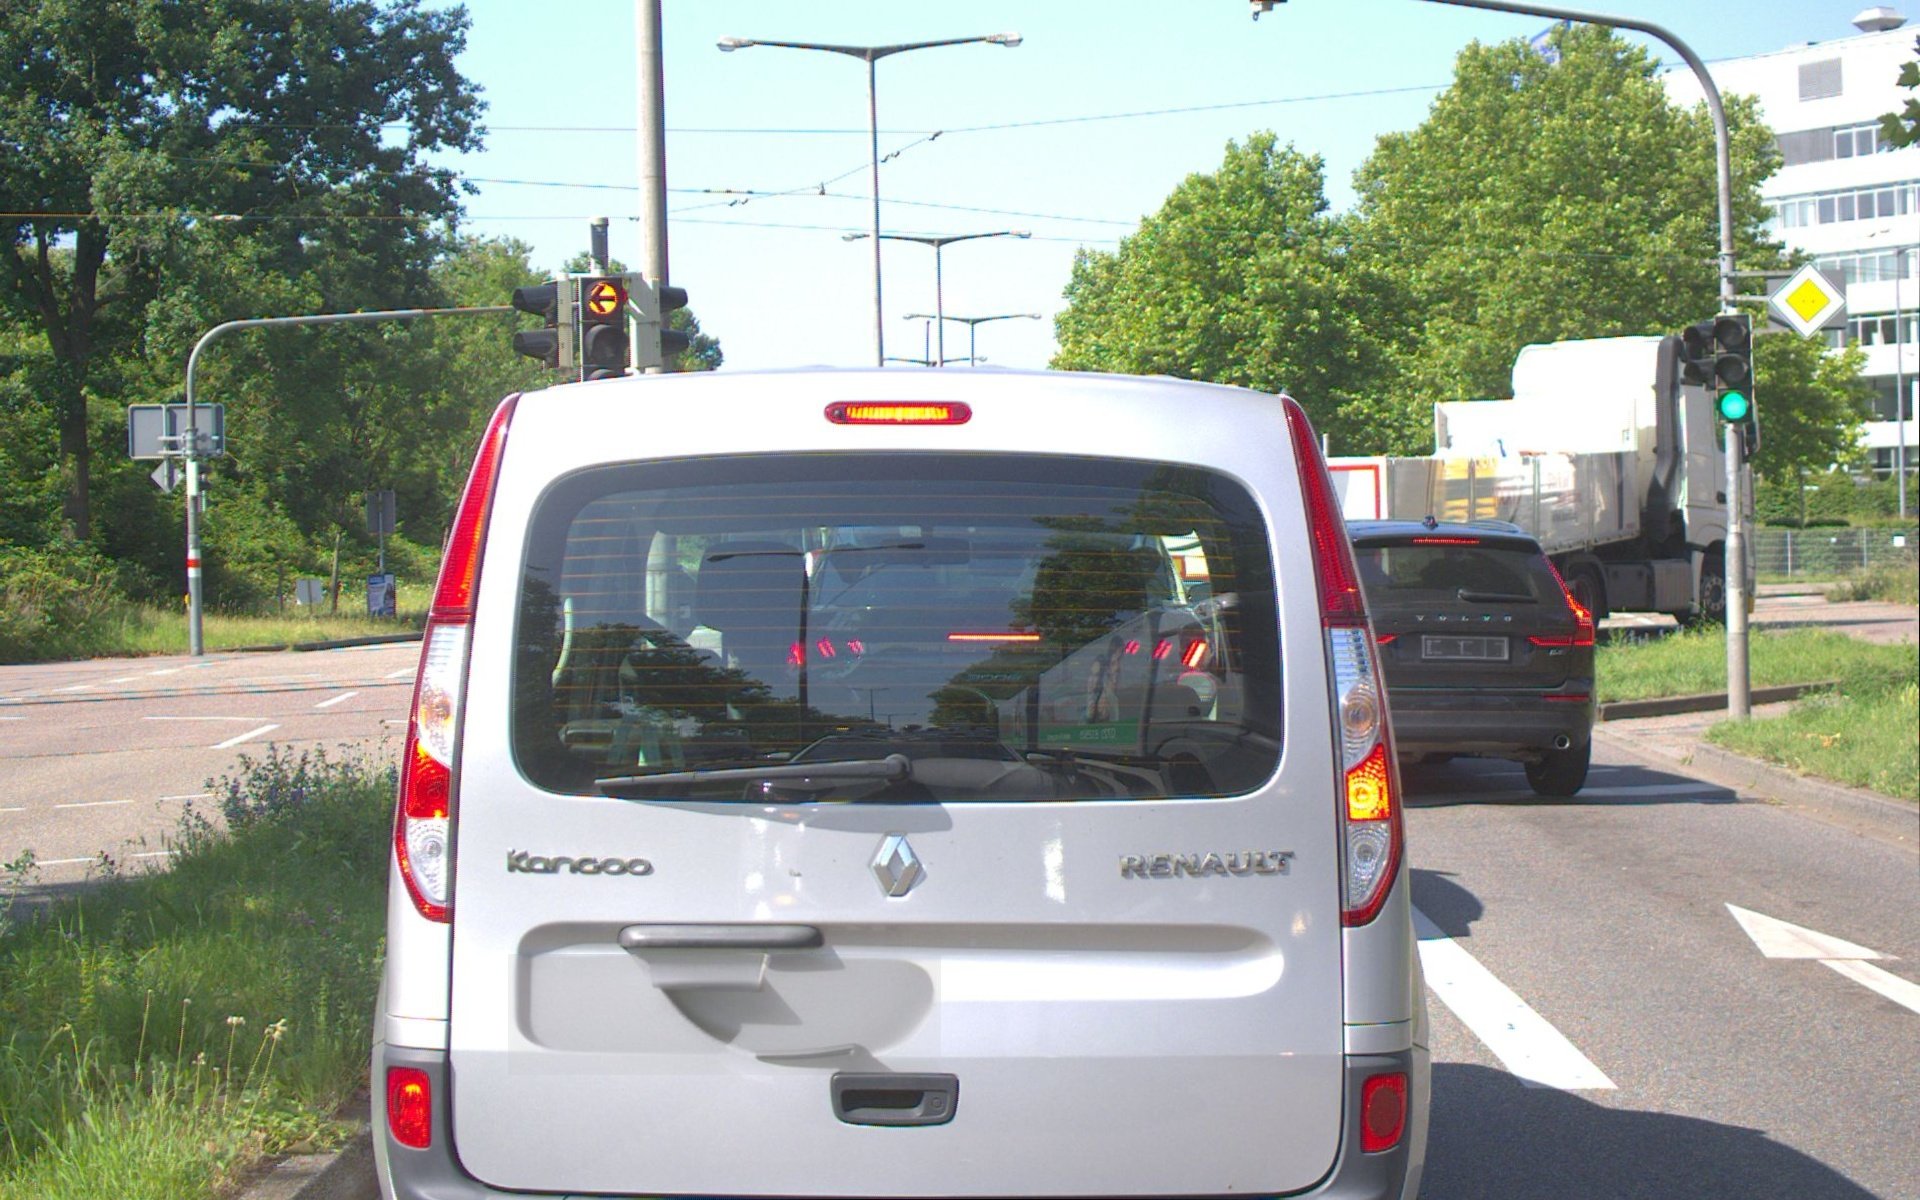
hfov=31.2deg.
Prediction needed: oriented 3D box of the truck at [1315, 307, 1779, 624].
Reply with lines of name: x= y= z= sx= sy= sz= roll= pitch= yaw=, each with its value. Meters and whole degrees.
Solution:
truck: x=7.493 y=-1.565 z=43.066 sx=2.916 sy=3.630 sz=7.175 roll=1 pitch=1 yaw=35

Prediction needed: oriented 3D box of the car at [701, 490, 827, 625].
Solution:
car: x=-3.922 y=-0.854 z=69.631 sx=1.994 sy=2.598 sz=5.133 roll=-1 pitch=0 yaw=2

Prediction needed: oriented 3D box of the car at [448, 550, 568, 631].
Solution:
car: x=-9.647 y=-0.214 z=73.600 sx=1.911 sy=1.636 sz=3.737 roll=-1 pitch=0 yaw=2

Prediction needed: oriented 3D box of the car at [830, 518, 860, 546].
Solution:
car: x=-8.370 y=-4.946 z=250.510 sx=1.888 sy=2.007 sz=4.000 roll=1 pitch=1 yaw=2

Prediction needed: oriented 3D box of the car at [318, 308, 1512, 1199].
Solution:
car: x=-0.094 y=0.467 z=7.199 sx=1.786 sy=1.831 sz=4.000 roll=1 pitch=1 yaw=-1

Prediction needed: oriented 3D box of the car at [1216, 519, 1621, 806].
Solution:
car: x=2.735 y=0.328 z=21.489 sx=1.875 sy=1.586 sz=4.434 roll=1 pitch=1 yaw=-1

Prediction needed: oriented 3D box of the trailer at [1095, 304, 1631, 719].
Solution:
trailer: x=4.694 y=-0.828 z=36.376 sx=2.903 sy=3.610 sz=12.673 roll=1 pitch=1 yaw=19

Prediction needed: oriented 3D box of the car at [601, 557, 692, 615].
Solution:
car: x=-8.816 y=-0.404 z=96.956 sx=1.994 sy=1.535 sz=4.236 roll=-1 pitch=0 yaw=2
